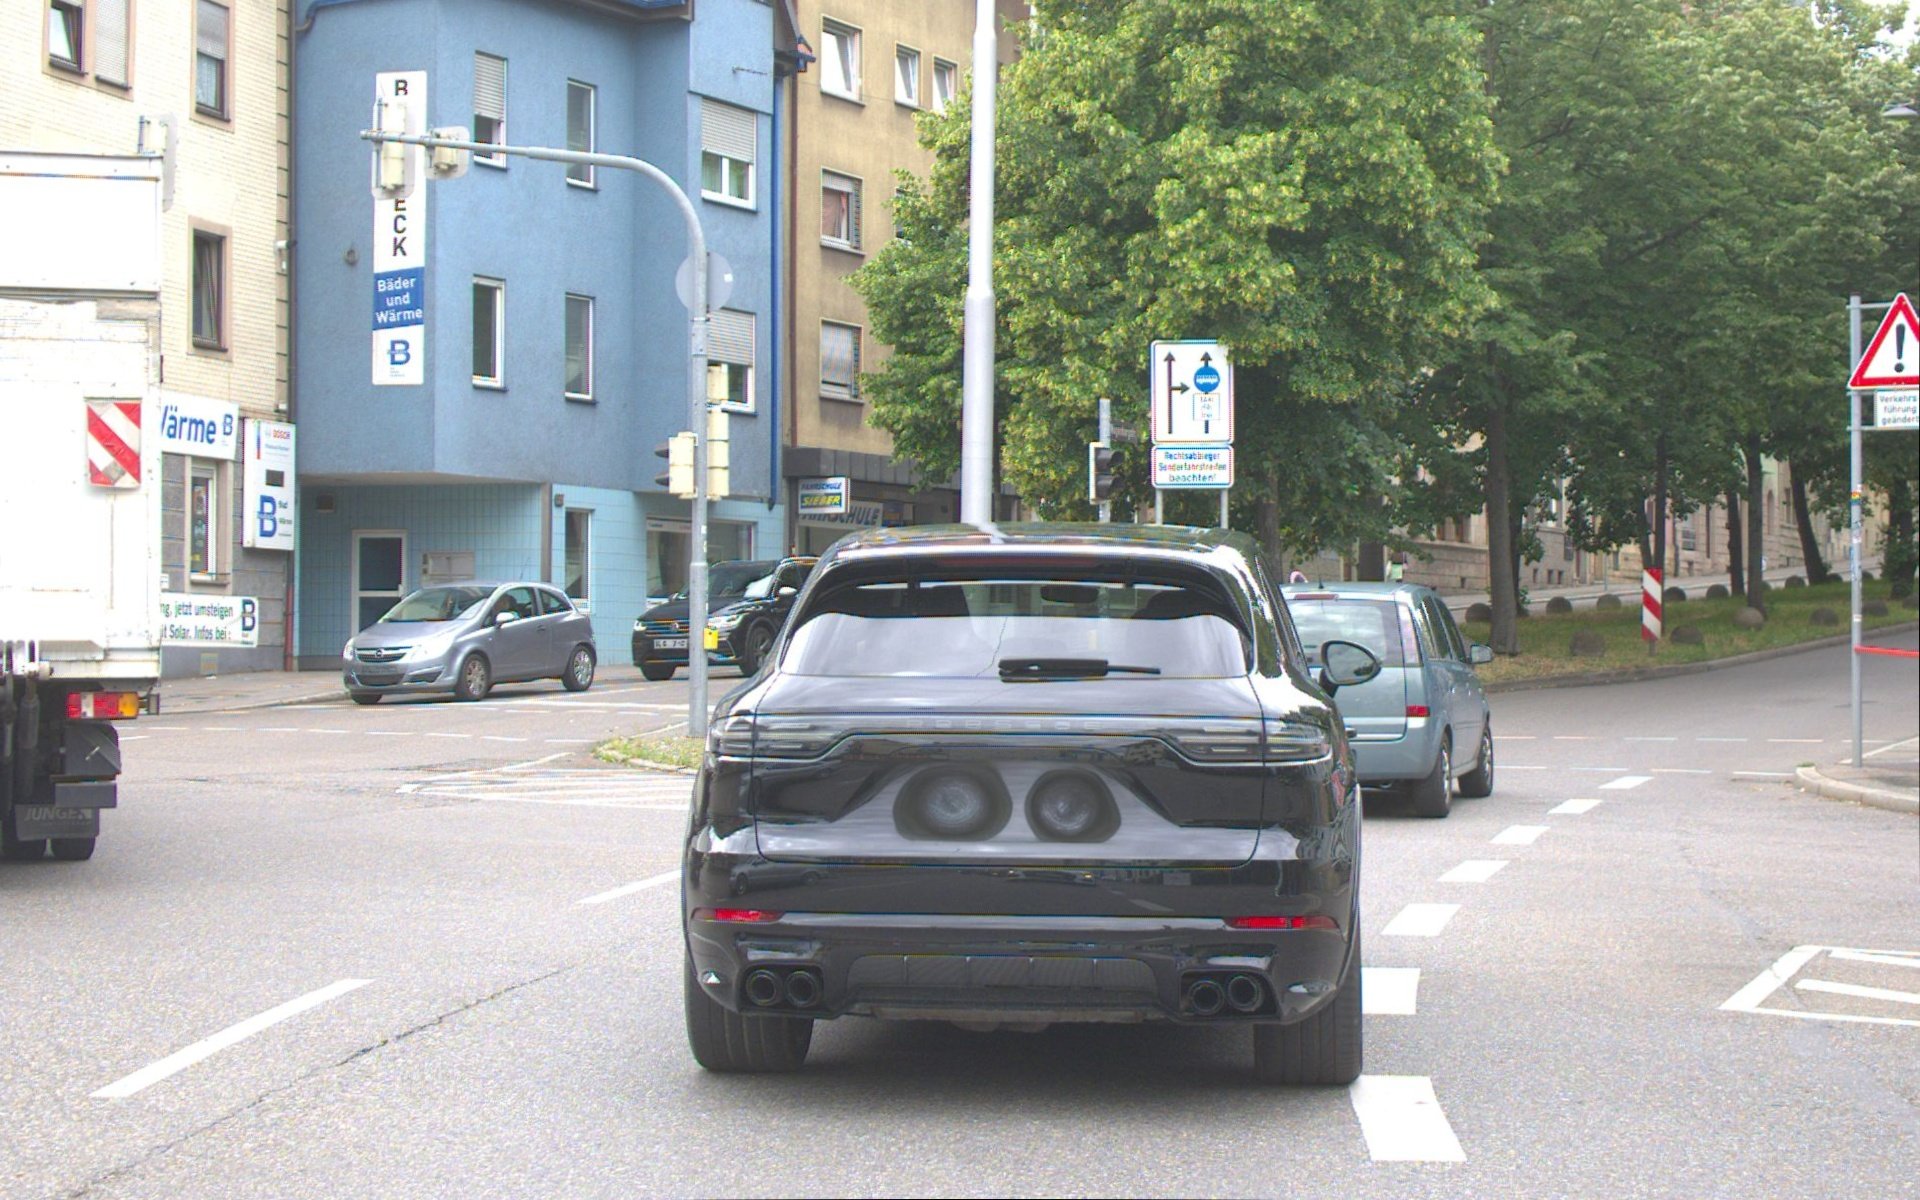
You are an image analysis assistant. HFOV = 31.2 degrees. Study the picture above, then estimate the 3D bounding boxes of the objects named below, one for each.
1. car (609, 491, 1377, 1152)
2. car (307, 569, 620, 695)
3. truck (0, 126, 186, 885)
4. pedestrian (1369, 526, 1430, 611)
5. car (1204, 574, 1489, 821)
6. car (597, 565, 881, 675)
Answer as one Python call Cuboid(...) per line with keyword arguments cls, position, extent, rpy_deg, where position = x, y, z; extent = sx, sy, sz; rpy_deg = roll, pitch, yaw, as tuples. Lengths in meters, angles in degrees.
Cuboid(cls="car", position=(0.295, 0.549, 11.434), extent=(2.032, 1.717, 4.499), rpy_deg=(1, 1, 6))
Cuboid(cls="car", position=(-6.068, 0.383, 42.487), extent=(1.719, 1.471, 4.212), rpy_deg=(-1, 0, 27))
Cuboid(cls="truck", position=(-6.234, -0.506, 19.870), extent=(2.724, 3.532, 8.424), rpy_deg=(2, 0, -17))
Cuboid(cls="pedestrian", position=(10.588, -0.753, 82.777), extent=(1.194, 2.007, 0.988), rpy_deg=(1, 0, 24))
Cuboid(cls="car", position=(2.794, 0.641, 24.250), extent=(1.649, 1.550, 3.581), rpy_deg=(2, 0, 11))
Cuboid(cls="car", position=(-3.081, 0.250, 49.005), extent=(1.873, 1.411, 4.691), rpy_deg=(0, 1, 28))
